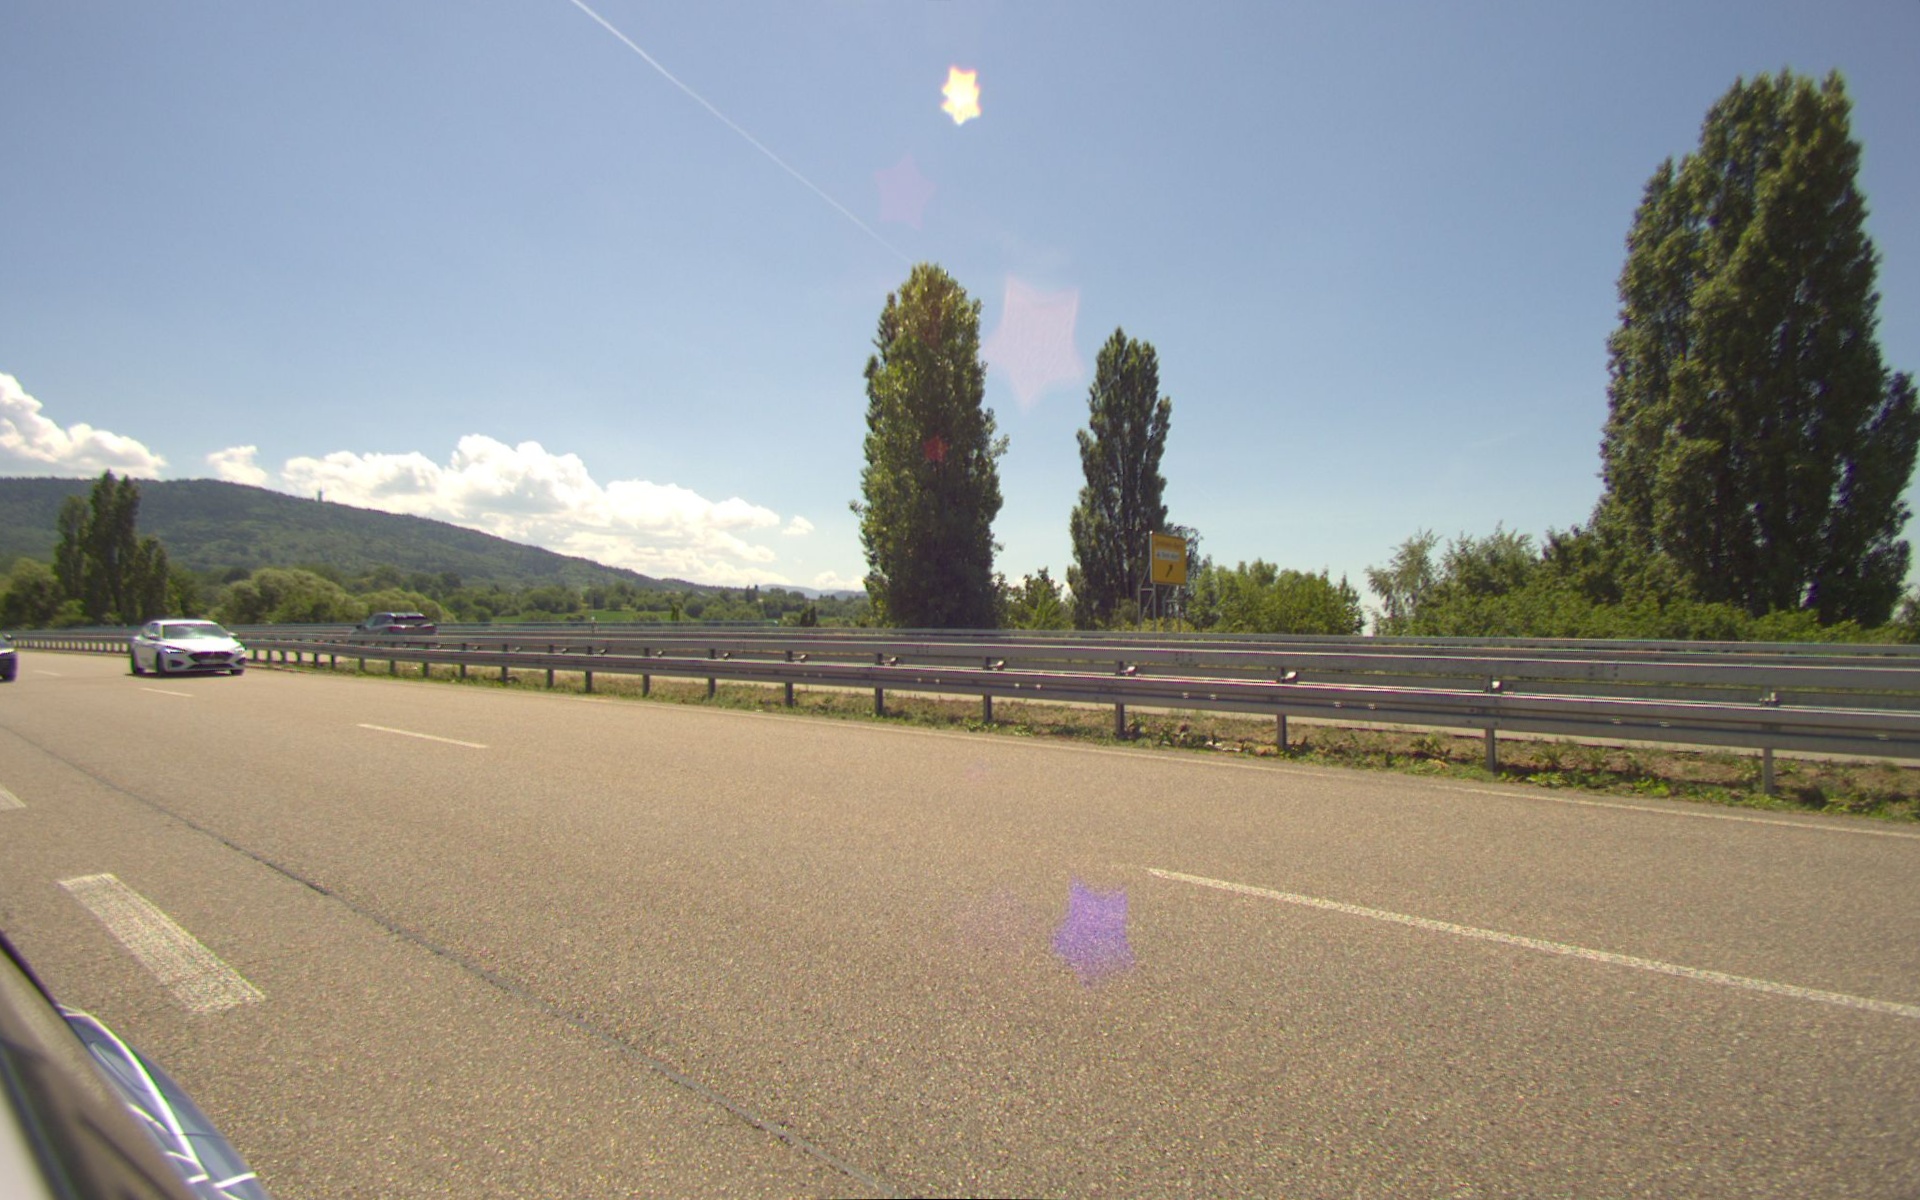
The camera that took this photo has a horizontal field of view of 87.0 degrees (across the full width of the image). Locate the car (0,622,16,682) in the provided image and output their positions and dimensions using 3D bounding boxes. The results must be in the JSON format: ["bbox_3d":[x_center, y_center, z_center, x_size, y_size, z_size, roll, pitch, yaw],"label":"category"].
[{"bbox_3d":[-24.615,1.268,24.683,4.466,1.418,1.823,-2,-1,40],"label":"car"}]

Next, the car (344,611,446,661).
[{"bbox_3d":[-20.115,1.242,35.965,4.186,1.660,1.806,-1,-2,41],"label":"car"}]

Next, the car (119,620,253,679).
[{"bbox_3d":[-20.686,1.264,26.989,4.464,1.418,1.823,-1,-1,39],"label":"car"}]
